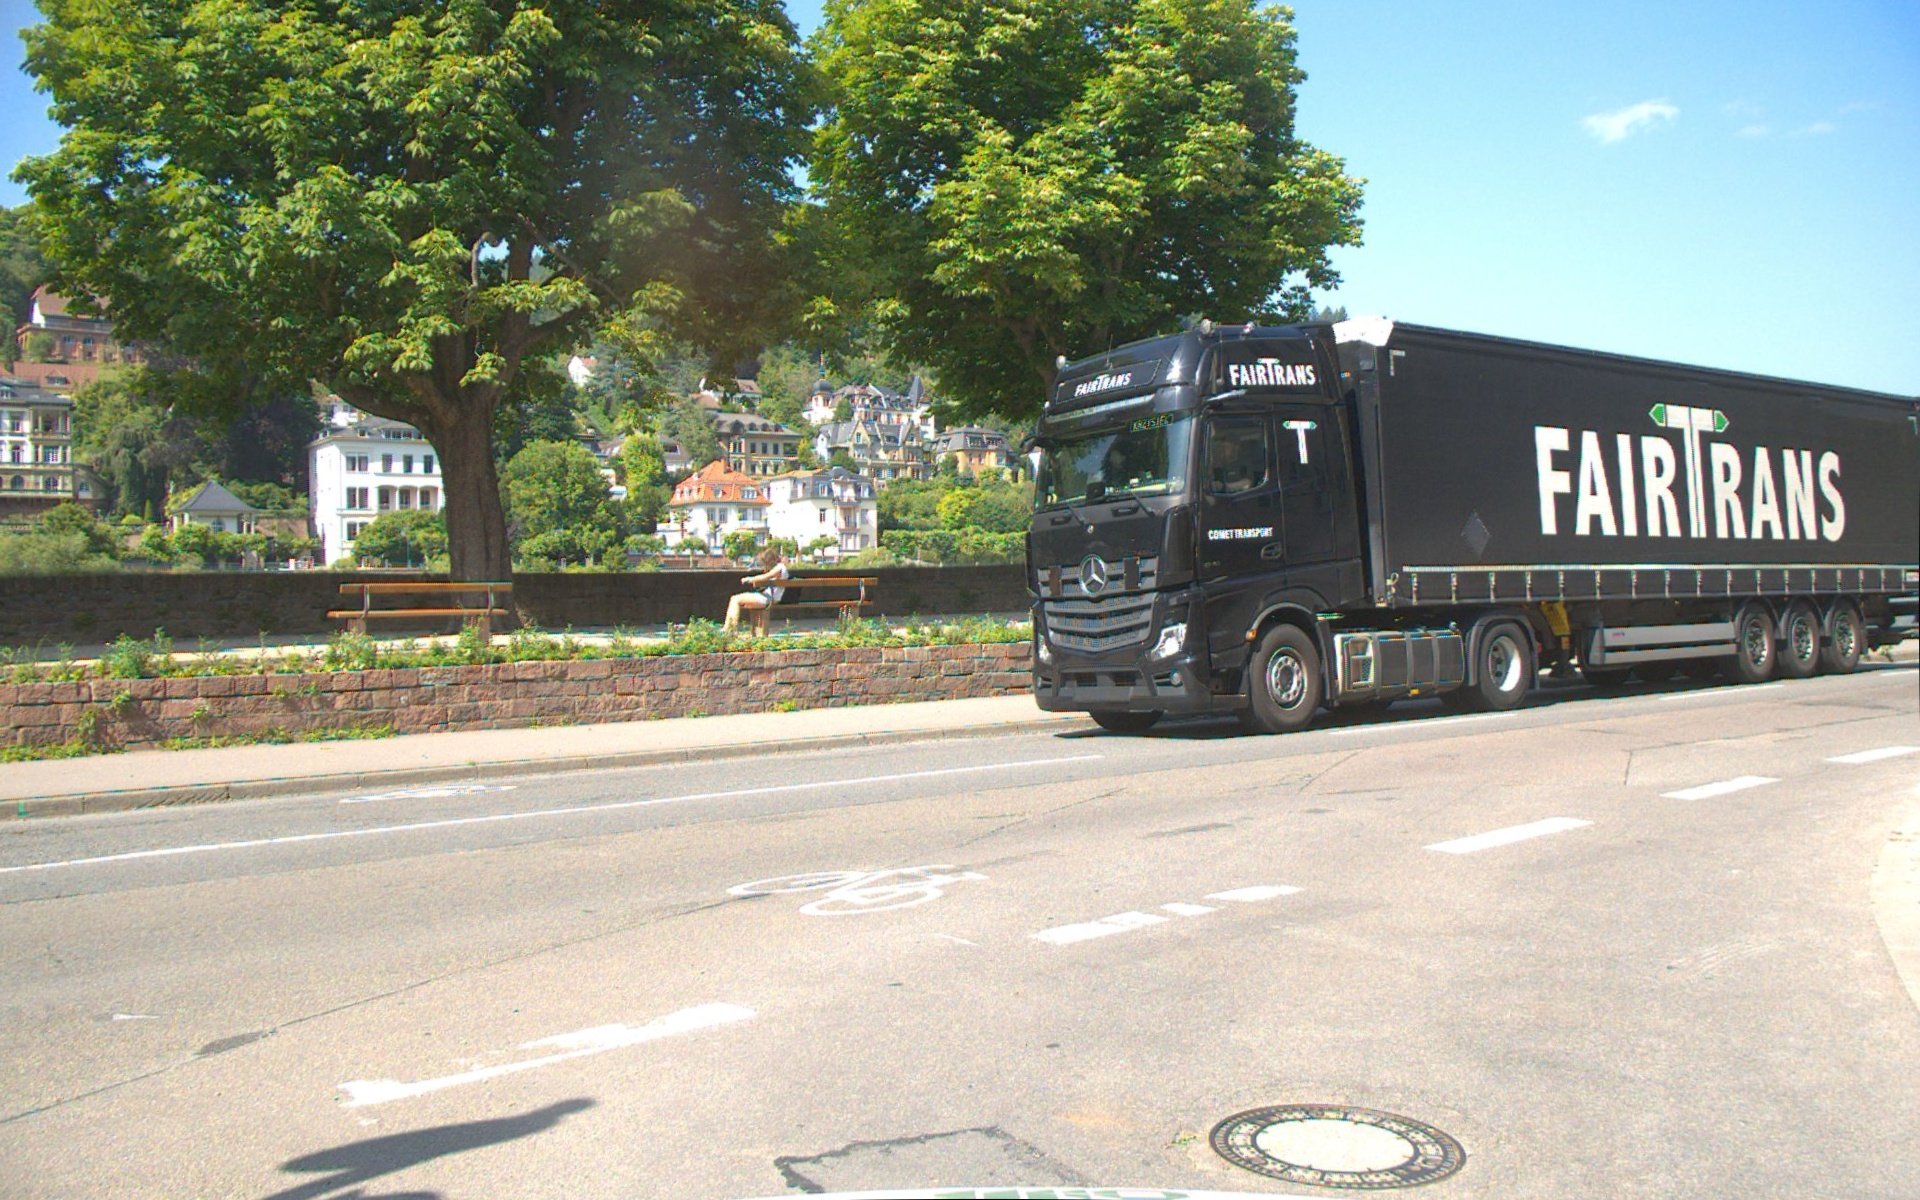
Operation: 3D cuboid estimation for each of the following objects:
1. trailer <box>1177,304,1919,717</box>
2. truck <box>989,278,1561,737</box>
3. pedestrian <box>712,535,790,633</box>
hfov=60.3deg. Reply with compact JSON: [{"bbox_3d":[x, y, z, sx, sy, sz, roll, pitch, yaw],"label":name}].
[{"bbox_3d":[8.735,-0.997,22.050,13.633,4.176,2.803,-2,-1,-39],"label":"trailer"},{"bbox_3d":[3.520,-0.846,17.858,5.873,4.142,2.800,-1,-2,-39],"label":"truck"},{"bbox_3d":[-2.765,-0.201,21.870,0.790,1.232,0.707,1,-5,-34],"label":"pedestrian"}]
